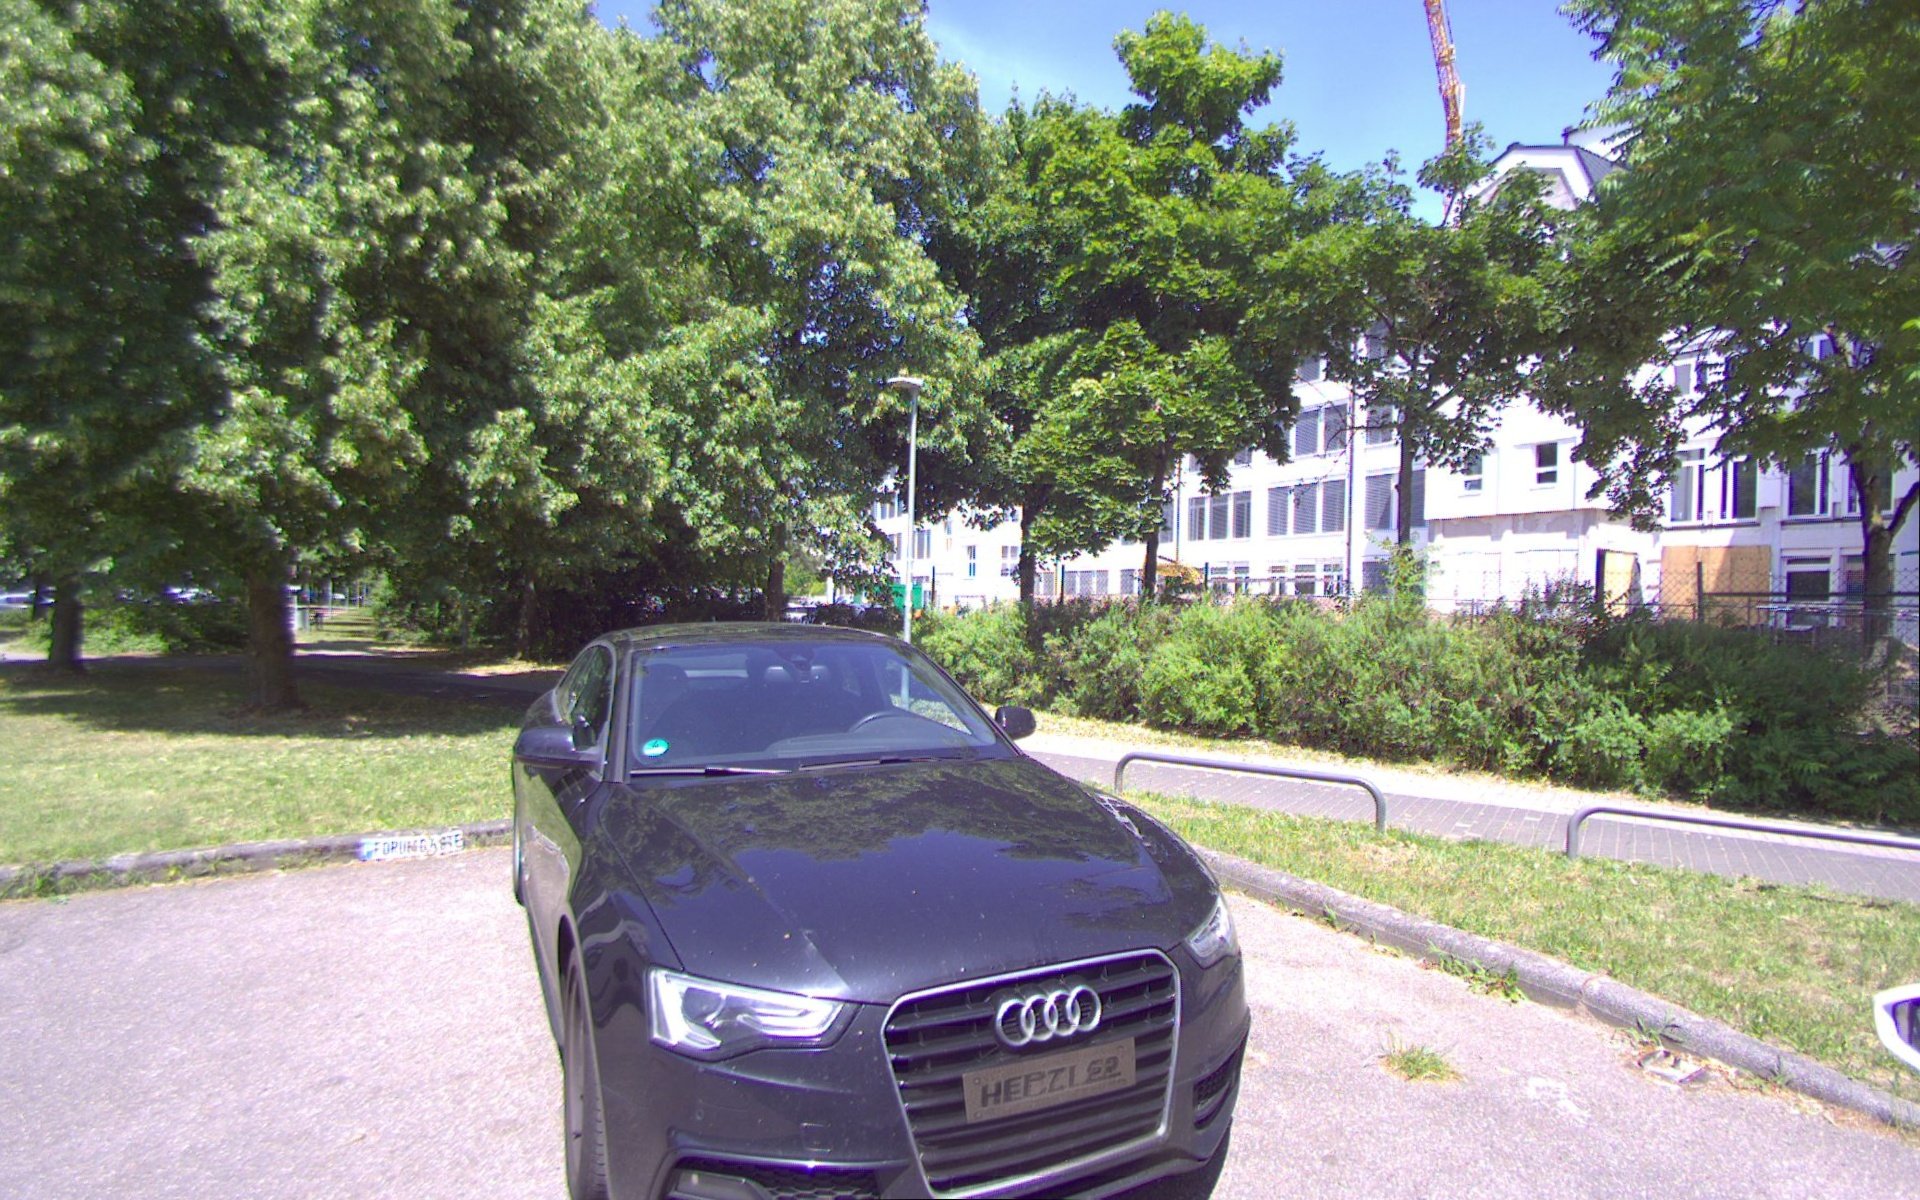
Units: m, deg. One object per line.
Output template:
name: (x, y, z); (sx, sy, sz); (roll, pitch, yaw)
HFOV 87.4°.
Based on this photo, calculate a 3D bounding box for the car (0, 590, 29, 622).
car: (-50.336, 0.237, 51.171); (3.956, 1.550, 1.731); (3, -1, -32)

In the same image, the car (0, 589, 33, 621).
car: (-52.065, 0.216, 53.381); (3.851, 1.652, 1.521); (3, -1, -32)

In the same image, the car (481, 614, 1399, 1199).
car: (-0.773, 0.798, 4.033); (1.997, 1.398, 4.413); (0, 0, -27)

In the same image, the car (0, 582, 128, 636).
car: (-37.557, 0.387, 42.006); (3.956, 2.040, 1.983); (3, -1, -32)

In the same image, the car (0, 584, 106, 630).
car: (-35.882, 0.259, 38.642); (4.293, 1.631, 1.917); (3, -1, -32)

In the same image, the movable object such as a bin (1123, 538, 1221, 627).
movable object such as a bin: (11.225, -0.867, 53.761); (1.973, 4.430, 5.687); (2, -1, -25)
